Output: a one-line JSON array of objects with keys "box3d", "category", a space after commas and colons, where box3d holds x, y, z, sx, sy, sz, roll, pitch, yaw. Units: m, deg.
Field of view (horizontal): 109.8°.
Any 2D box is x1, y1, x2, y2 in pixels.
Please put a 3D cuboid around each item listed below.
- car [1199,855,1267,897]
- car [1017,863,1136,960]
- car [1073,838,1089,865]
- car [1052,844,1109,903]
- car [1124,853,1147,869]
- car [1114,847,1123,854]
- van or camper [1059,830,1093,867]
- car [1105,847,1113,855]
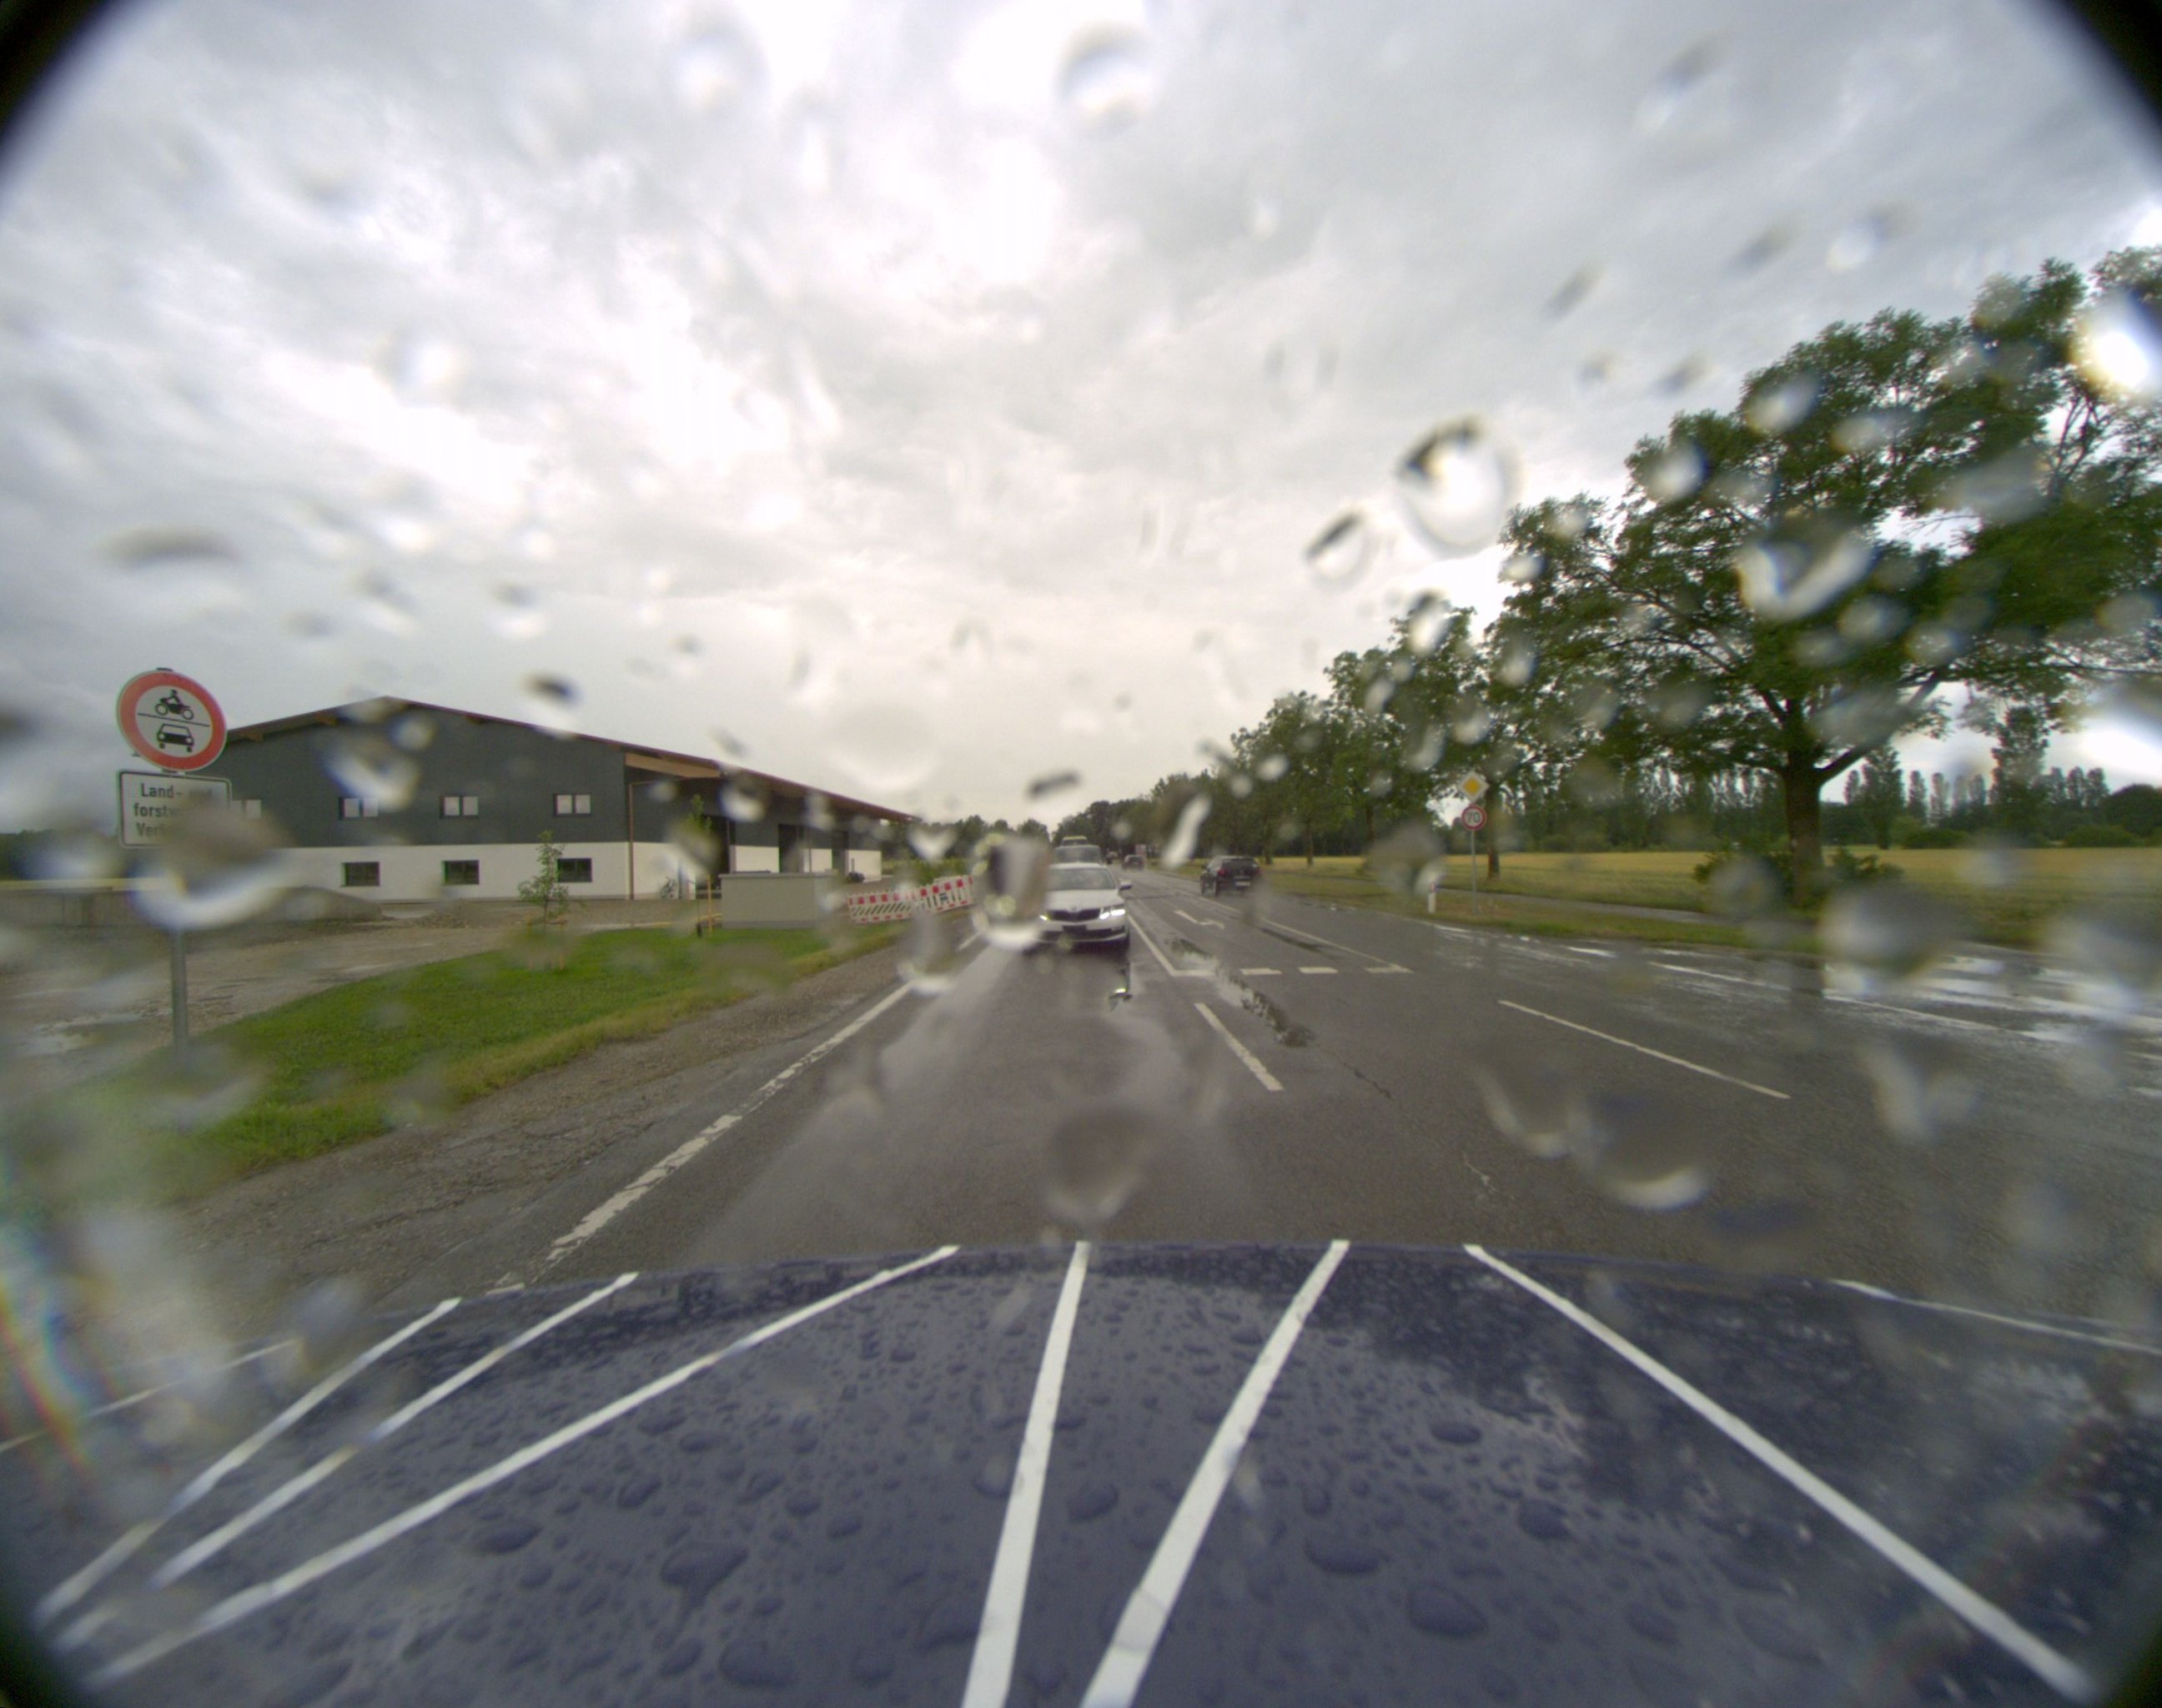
[{"box3d": [5.413, 0.743, 27.481, 1.716, 1.397, 3.813, 0, 0, 0], "category": "car"}, {"box3d": [-0.066, 0.895, 13.830, 1.770, 1.365, 4.575, -1, 0, 0], "category": "car"}, {"box3d": [-0.026, -0.270, 91.890, 1.771, 3.134, 4.027, -1, 0, -1], "category": "car"}, {"box3d": [-0.013, 0.634, 27.183, 1.841, 1.888, 4.575, -1, 0, 0], "category": "car"}, {"box3d": [5.129, 0.633, 71.680, 1.770, 1.429, 4.412, 0, 0, -1], "category": "car"}, {"box3d": [10.788, -0.953, 216.560, 1.999, 2.002, 3.997, -1, 1, -5], "category": "car"}, {"box3d": [-0.468, -0.615, 79.921, 3.342, 3.624, 8.372, -1, 0, 0], "category": "van or camper"}, {"box3d": [7.629, -0.852, 206.253, 1.998, 2.002, 4.000, -1, 0, 1], "category": "car"}]
